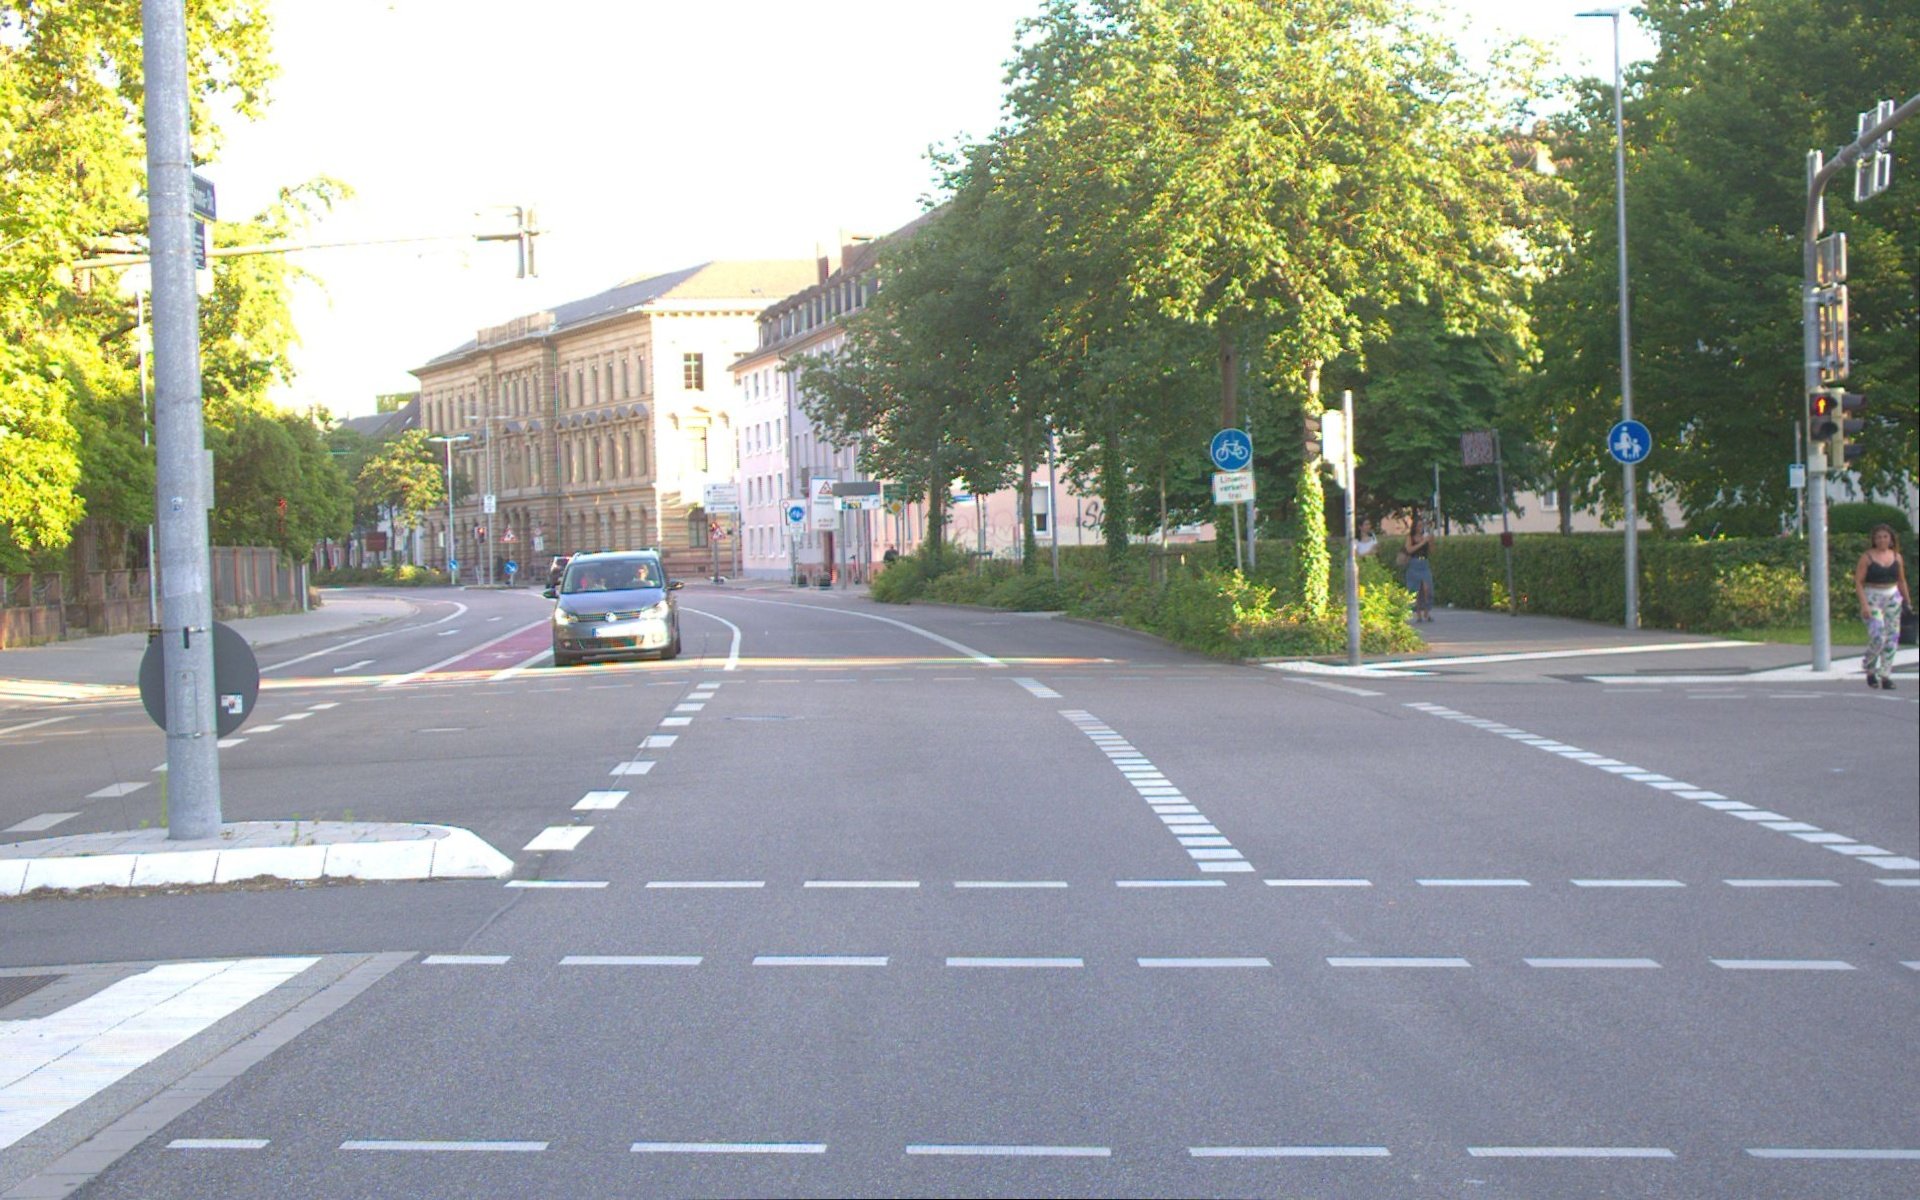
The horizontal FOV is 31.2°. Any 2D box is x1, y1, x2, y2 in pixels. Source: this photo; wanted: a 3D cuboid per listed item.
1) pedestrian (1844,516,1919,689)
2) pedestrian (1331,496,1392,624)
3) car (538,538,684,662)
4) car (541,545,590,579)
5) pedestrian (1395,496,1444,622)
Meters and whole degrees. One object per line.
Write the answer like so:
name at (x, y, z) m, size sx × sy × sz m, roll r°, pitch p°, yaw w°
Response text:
pedestrian at (8.869, 0.018, 32.893) m, size 0.599 × 1.630 × 0.691 m, roll -1°, pitch 1°, yaw -5°
pedestrian at (6.350, -0.635, 54.427) m, size 0.870 × 2.007 × 0.722 m, roll 0°, pitch 1°, yaw -1°
car at (-5.149, -0.037, 51.190) m, size 1.849 × 1.714 × 4.296 m, roll -2°, pitch 1°, yaw -2°
car at (-19.538, -1.900, 170.182) m, size 1.819 × 1.583 × 4.001 m, roll -3°, pitch 1°, yaw -14°
pedestrian at (7.348, -0.660, 54.998) m, size 0.635 × 2.007 × 0.720 m, roll -1°, pitch 1°, yaw -4°
